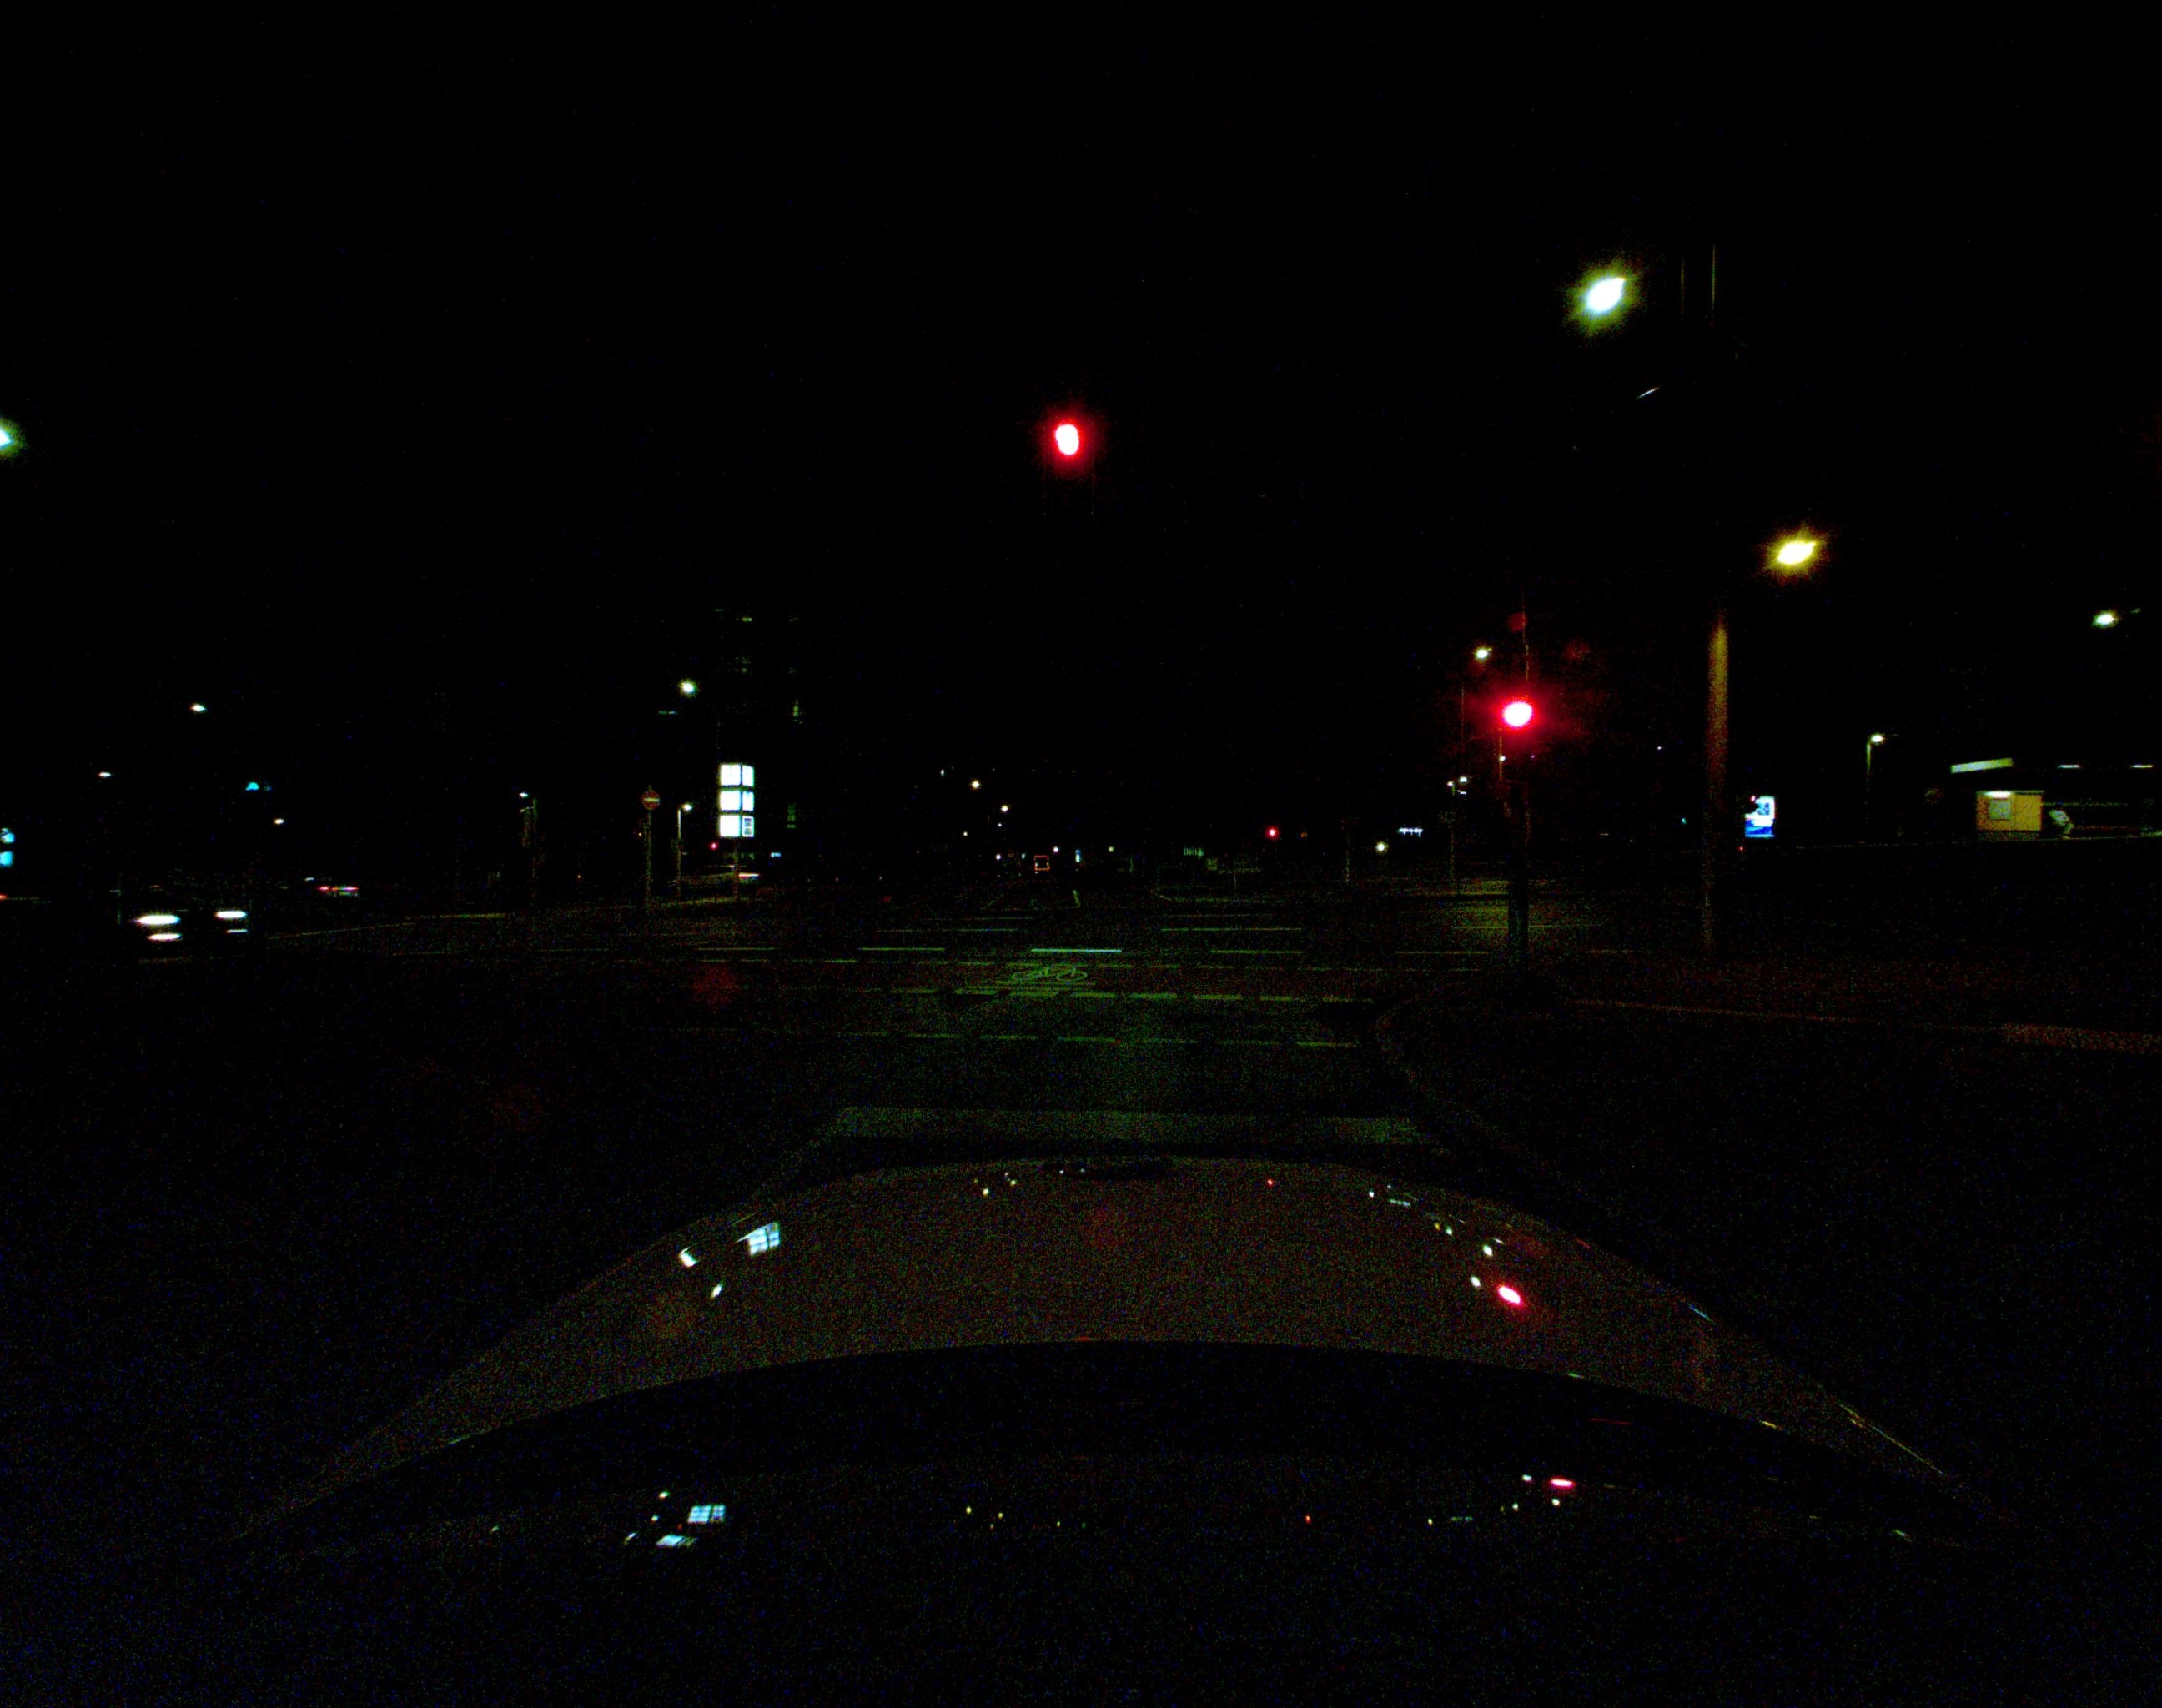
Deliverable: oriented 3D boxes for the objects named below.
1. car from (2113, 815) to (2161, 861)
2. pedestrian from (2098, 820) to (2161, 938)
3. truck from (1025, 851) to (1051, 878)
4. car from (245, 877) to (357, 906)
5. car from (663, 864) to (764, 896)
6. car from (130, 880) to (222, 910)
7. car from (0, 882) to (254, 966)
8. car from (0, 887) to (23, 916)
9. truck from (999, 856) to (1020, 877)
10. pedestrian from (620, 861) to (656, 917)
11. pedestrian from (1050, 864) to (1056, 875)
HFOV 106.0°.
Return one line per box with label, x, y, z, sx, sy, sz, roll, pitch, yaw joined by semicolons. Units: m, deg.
car;46.315;-0.786;33.569;4.757;1.844;1.845;-3;-2;4
pedestrian;15.532;0.338;11.702;0.870;1.656;0.843;-7;-5;42
truck;-7.978;1.928;149.265;3.366;4.843;7.865;0;-1;-14
car;-42.143;2.007;44.043;4.553;1.486;1.781;0;0;5
car;-19.156;1.333;42.578;4.377;1.644;1.944;0;-1;5
car;-54.322;2.443;48.903;3.798;1.631;1.816;-2;0;8
car;-20.578;1.473;17.521;3.861;1.473;1.660;-2;2;2
car;-59.068;2.513;43.114;3.817;1.486;1.871;0;-1;5
truck;-10.590;1.870;120.164;2.419;3.089;6.412;0;-1;-11
pedestrian;-13.964;1.098;25.690;0.671;1.722;0.710;-1;-2;22
pedestrian;-5.014;2.859;147.738;0.851;1.912;1.001;0;-1;-16
